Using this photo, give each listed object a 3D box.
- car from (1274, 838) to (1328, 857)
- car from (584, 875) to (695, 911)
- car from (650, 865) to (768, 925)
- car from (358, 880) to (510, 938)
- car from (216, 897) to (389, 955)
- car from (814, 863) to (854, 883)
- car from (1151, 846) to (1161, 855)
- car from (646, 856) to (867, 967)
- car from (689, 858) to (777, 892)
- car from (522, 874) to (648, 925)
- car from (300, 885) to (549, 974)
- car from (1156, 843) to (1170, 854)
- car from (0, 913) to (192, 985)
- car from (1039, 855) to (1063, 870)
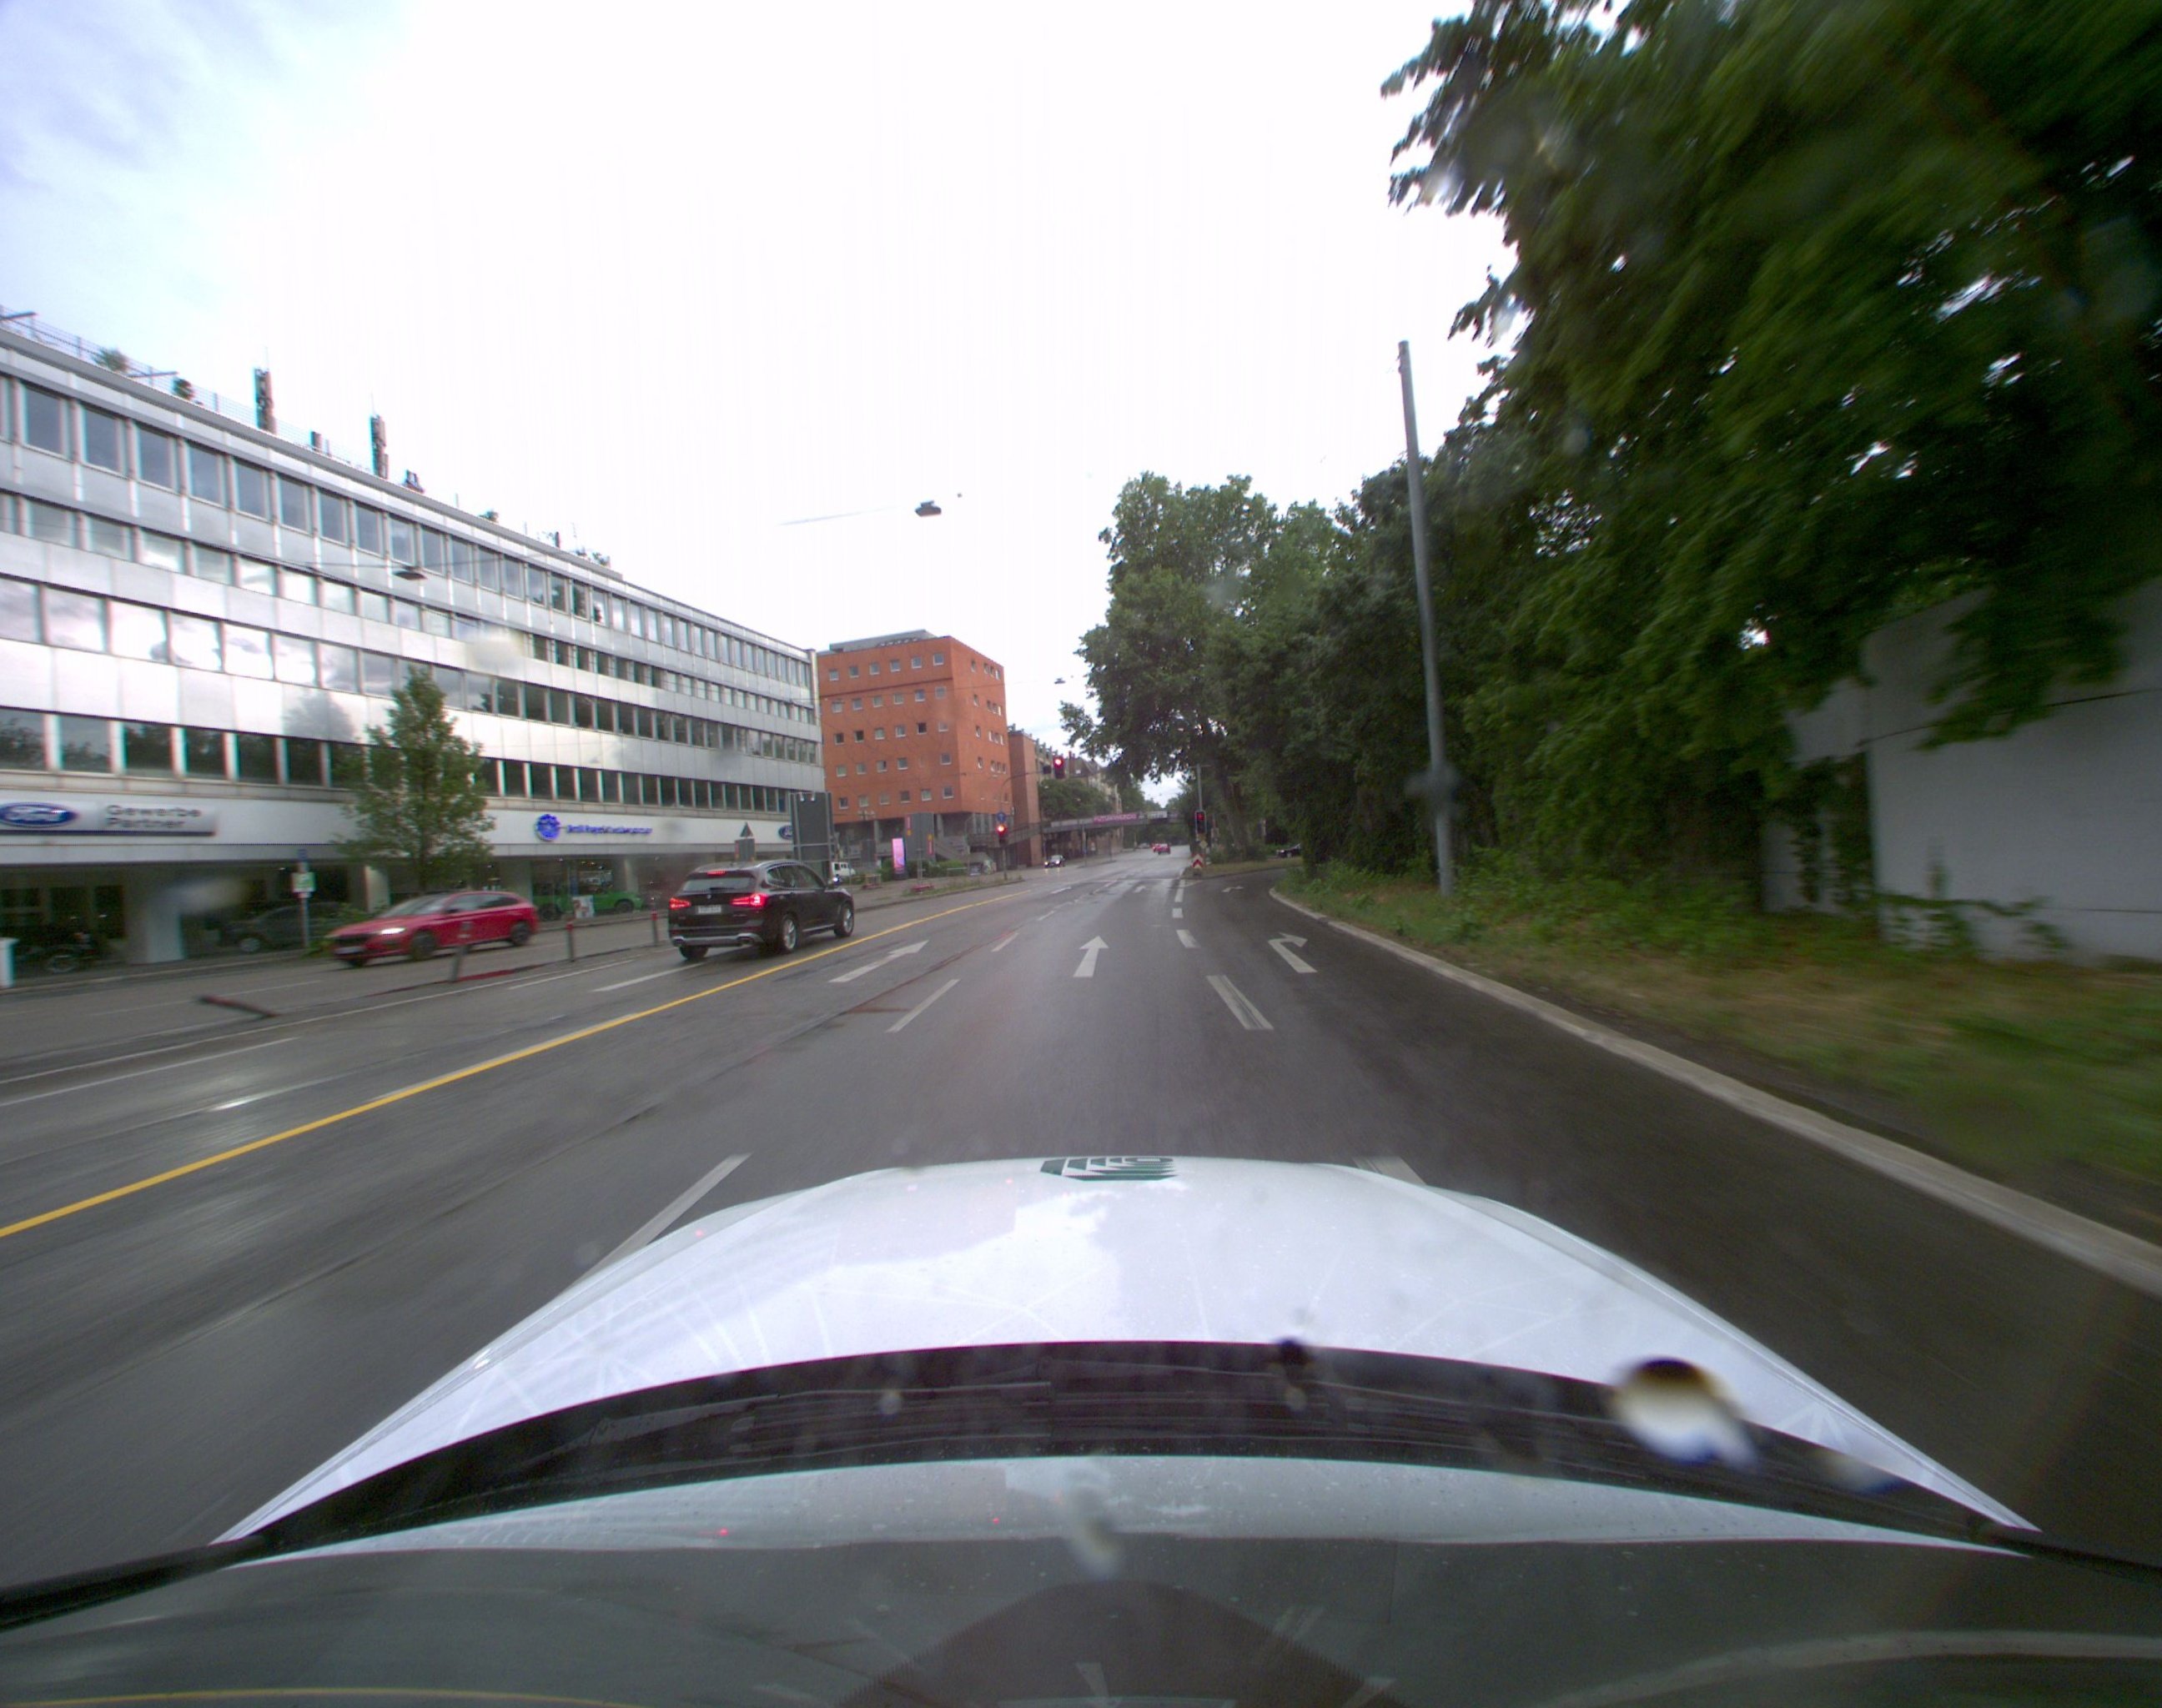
[{"bbox_3d":[20.819,-0.581,77.134,4.589,1.451,1.773,-4,-1,-1],"label":"car"},{"bbox_3d":[-25.641,2.241,47.466,5.186,1.520,1.994,-5,0,-8],"label":"car"},{"bbox_3d":[-13.551,1.437,29.984,1.724,1.786,4.311,-5,0,8],"label":"car"},{"bbox_3d":[-28.134,2.365,35.655,5.012,1.897,1.977,-5,-1,-37],"label":"car"},{"bbox_3d":[-28.345,2.583,29.845,4.004,1.574,1.985,-5,-1,-22],"label":"car"},{"bbox_3d":[-25.659,1.939,84.759,1.982,2.013,4.864,0,0,9],"label":"car"},{"bbox_3d":[15.225,-0.738,165.708,1.754,1.696,3.713,-5,0,7],"label":"car"},{"bbox_3d":[-5.820,0.925,15.384,1.938,1.597,4.676,-2,1,4],"label":"car"},{"bbox_3d":[-22.902,1.346,53.741,4.747,1.738,1.998,-5,-1,-3],"label":"car"},{"bbox_3d":[-25.173,2.278,41.583,5.220,2.011,1.982,-5,-1,-28],"label":"car"},{"bbox_3d":[-14.905,1.628,18.885,1.820,1.502,4.380,-5,0,6],"label":"car"},{"bbox_3d":[13.880,-0.977,137.715,2.111,1.734,4.204,-2,1,4],"label":"car"},{"bbox_3d":[-29.328,2.757,23.763,1.977,1.574,4.020,-6,0,19],"label":"car"},{"bbox_3d":[-3.416,0.968,94.011,1.983,1.519,4.008,-4,0,7],"label":"car"}]
